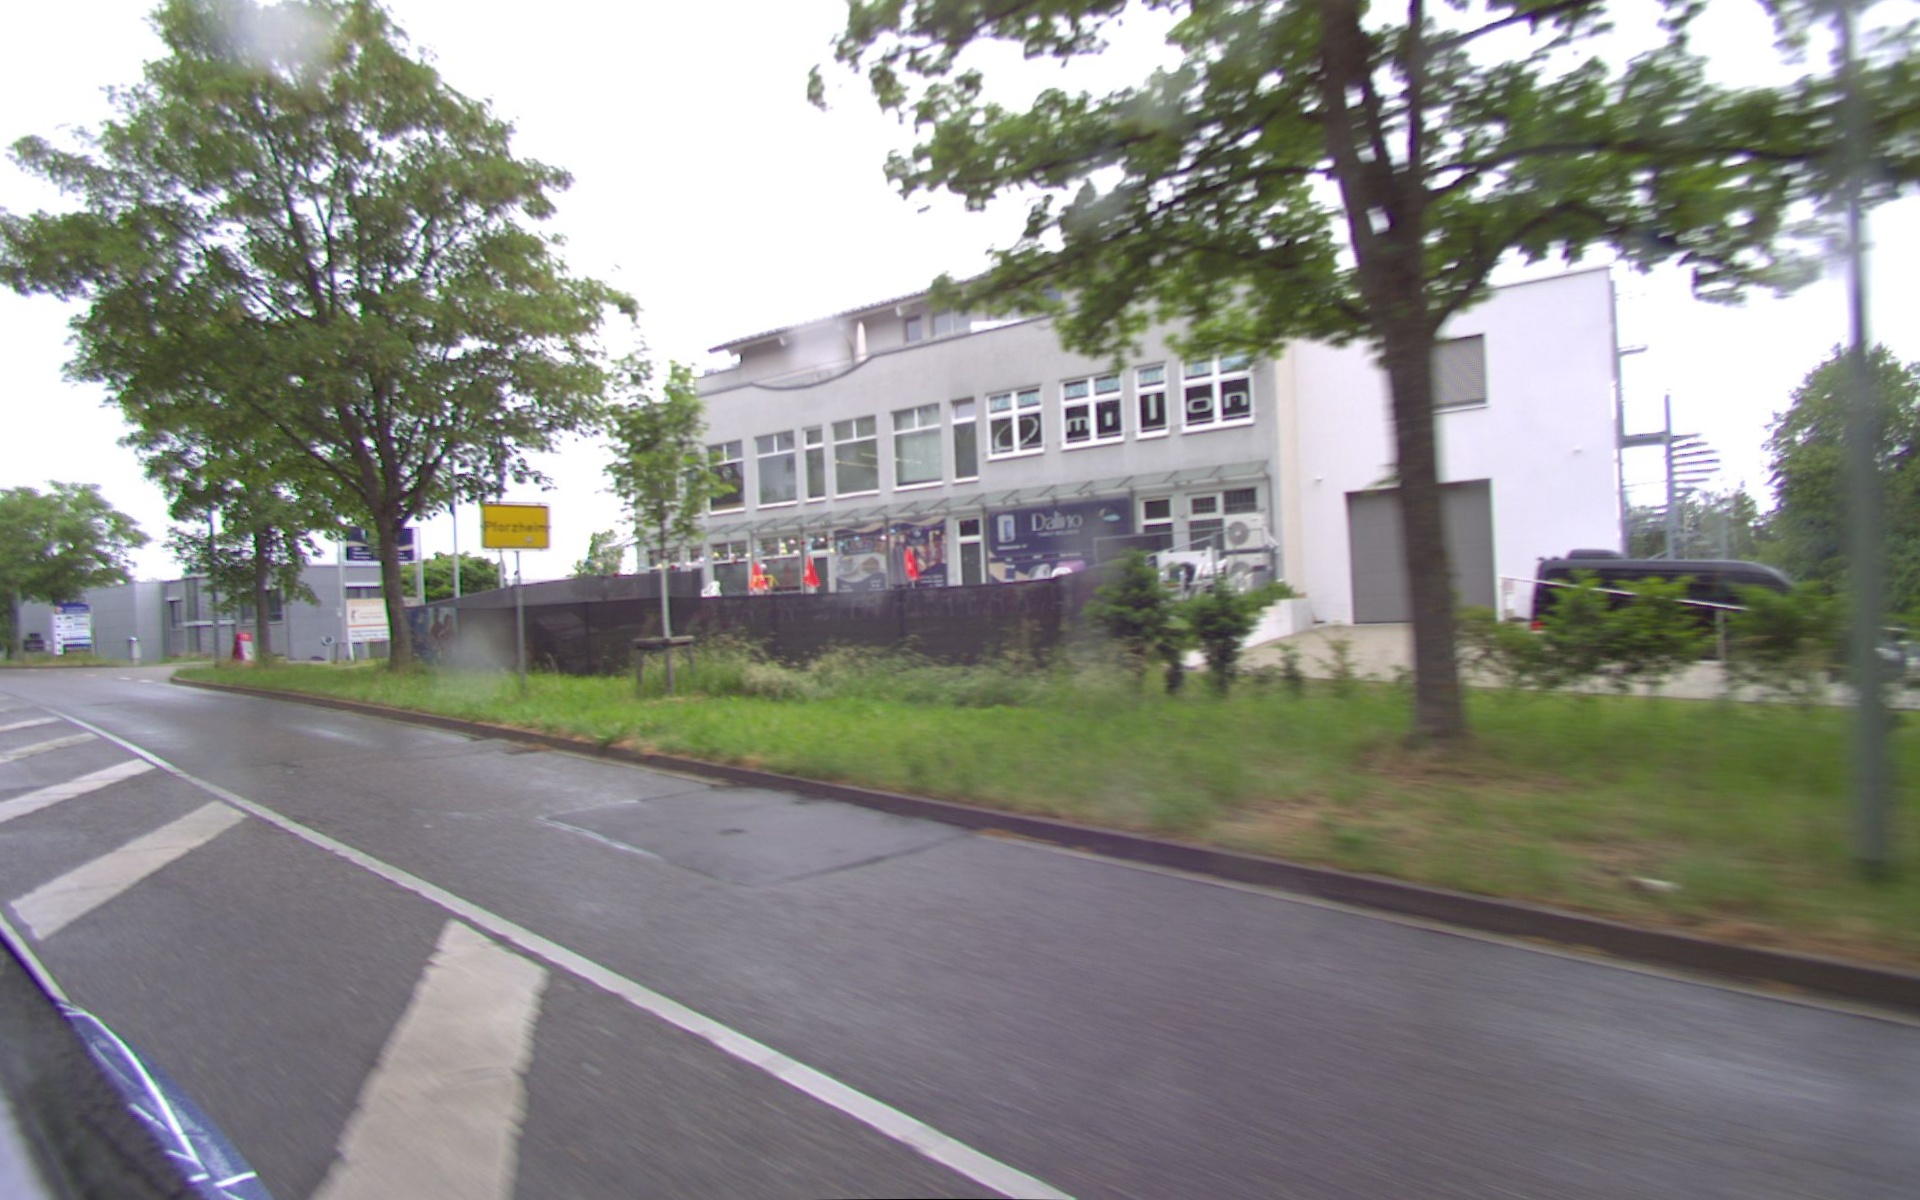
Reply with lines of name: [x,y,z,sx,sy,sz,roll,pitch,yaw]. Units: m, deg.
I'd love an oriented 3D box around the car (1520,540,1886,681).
car: [13.859,0.079,19.263,5.222,1.929,1.887,9,6,38]
